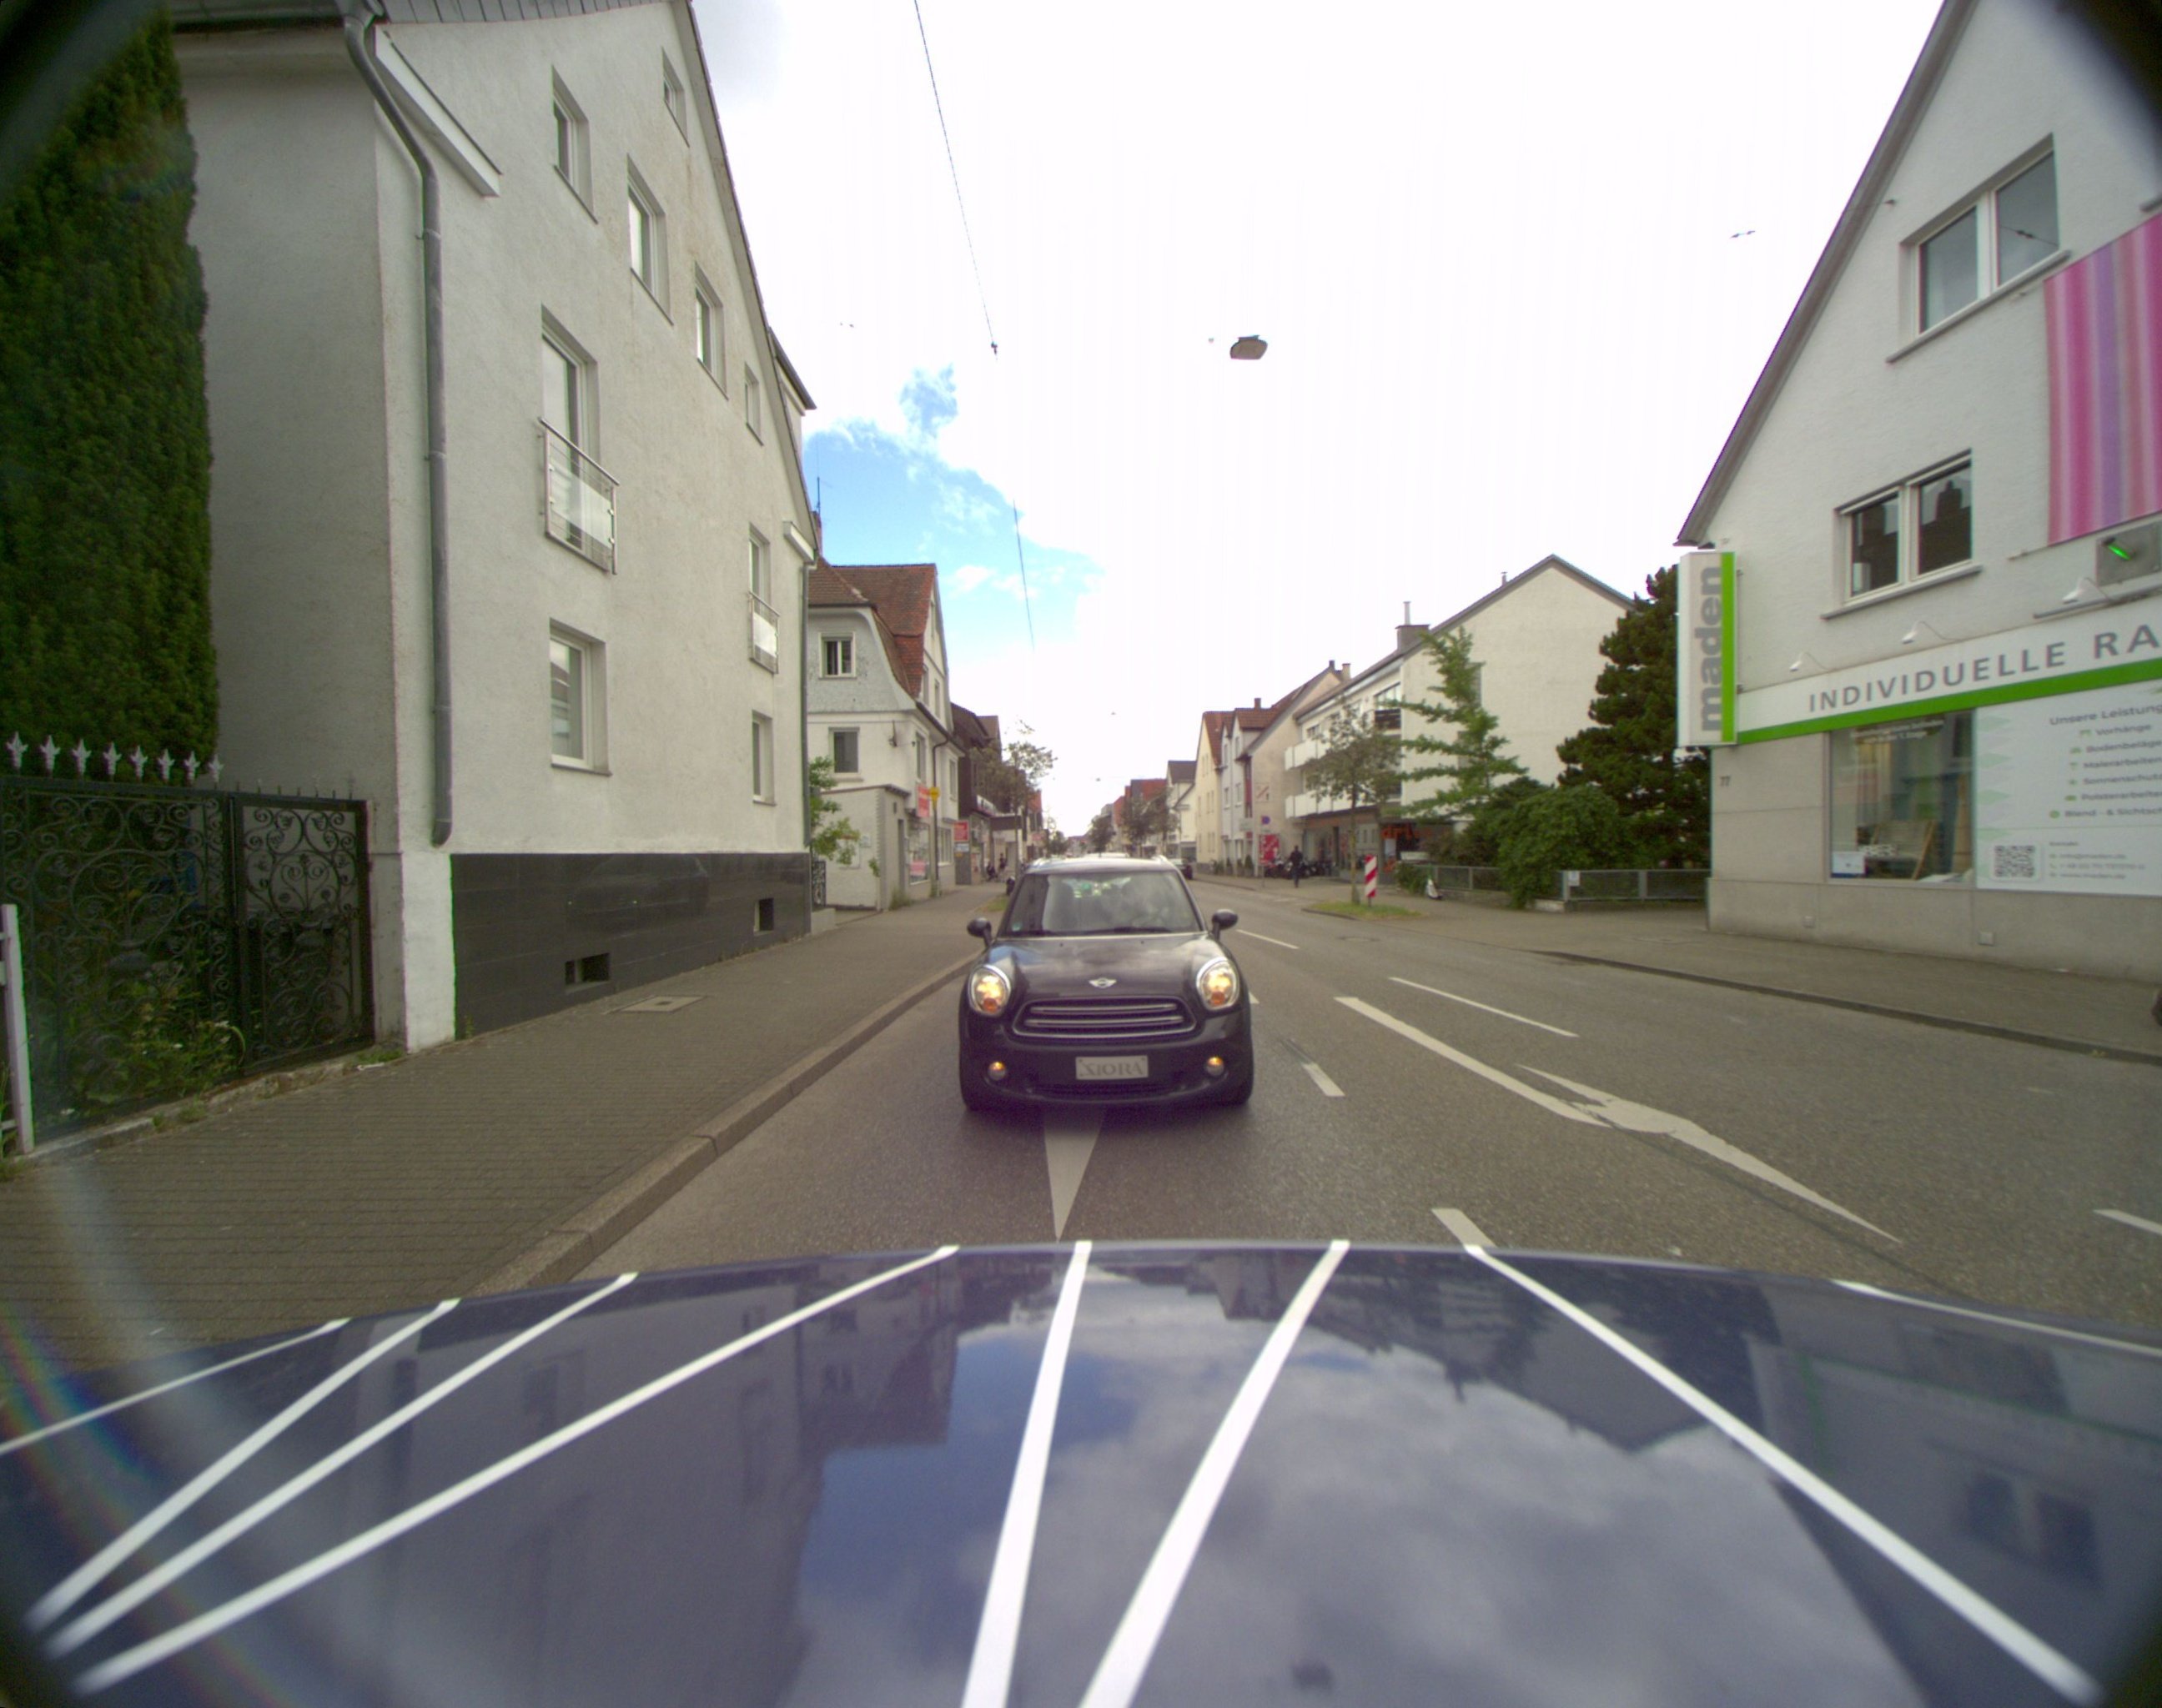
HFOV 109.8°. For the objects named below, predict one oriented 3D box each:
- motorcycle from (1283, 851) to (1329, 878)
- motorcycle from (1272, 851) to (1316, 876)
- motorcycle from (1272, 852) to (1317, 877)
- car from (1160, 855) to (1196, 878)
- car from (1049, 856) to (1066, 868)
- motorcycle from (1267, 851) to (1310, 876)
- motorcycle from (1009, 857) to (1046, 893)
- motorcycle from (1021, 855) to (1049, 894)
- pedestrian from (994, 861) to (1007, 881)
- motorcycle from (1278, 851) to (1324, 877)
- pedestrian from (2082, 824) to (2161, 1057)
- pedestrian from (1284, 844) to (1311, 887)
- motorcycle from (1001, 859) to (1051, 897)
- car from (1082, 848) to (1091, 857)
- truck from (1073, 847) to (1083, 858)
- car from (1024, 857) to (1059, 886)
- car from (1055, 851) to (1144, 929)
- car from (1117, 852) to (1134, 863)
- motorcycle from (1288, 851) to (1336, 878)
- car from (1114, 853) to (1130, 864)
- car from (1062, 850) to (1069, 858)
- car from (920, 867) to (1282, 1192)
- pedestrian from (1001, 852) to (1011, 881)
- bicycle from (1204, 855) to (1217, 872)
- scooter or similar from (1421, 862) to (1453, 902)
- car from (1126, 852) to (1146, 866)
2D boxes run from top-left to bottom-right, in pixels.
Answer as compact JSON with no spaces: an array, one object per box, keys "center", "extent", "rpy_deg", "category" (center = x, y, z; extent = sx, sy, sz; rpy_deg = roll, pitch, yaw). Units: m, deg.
[{"center":[11.925,0.564,40.304],"extent":[2.231,1.258,0.613],"rpy_deg":[-4,1,-2],"category":"motorcycle"},{"center":[11.984,0.548,42.819],"extent":[2.231,1.258,0.613],"rpy_deg":[-4,1,-2],"category":"motorcycle"},{"center":[11.802,0.568,42.011],"extent":[2.231,1.258,0.699],"rpy_deg":[-4,1,-2],"category":"motorcycle"},{"center":[6.419,0.823,50.587],"extent":[1.792,1.409,4.340],"rpy_deg":[0,0,-1],"category":"car"},{"center":[-2.618,0.882,85.229],"extent":[1.794,1.356,3.948],"rpy_deg":[1,0,0],"category":"car"},{"center":[11.891,0.540,43.555],"extent":[2.231,1.258,0.613],"rpy_deg":[-4,1,-2],"category":"motorcycle"},{"center":[-2.257,0.863,32.638],"extent":[0.648,1.432,2.472],"rpy_deg":[-2,1,19],"category":"motorcycle"},{"center":[-1.891,0.807,31.498],"extent":[0.672,1.516,2.599],"rpy_deg":[-2,1,6],"category":"motorcycle"},{"center":[-4.952,1.027,46.537],"extent":[0.742,1.204,0.644],"rpy_deg":[0,1,-1],"category":"pedestrian"},{"center":[11.914,0.560,41.170],"extent":[2.231,1.258,0.613],"rpy_deg":[-4,1,-2],"category":"motorcycle"},{"center":[8.469,0.642,5.612],"extent":[0.753,1.733,1.019],"rpy_deg":[-3,1,0],"category":"pedestrian"},{"center":[9.512,0.492,33.359],"extent":[0.753,1.838,1.019],"rpy_deg":[-5,1,0],"category":"pedestrian"},{"center":[-2.127,0.904,29.019],"extent":[0.777,1.373,2.237],"rpy_deg":[-2,1,-37],"category":"motorcycle"},{"center":[1.194,-0.238,166.492],"extent":[1.855,1.932,4.490],"rpy_deg":[0,0,-2],"category":"car"},{"center":[-0.887,-0.532,218.991],"extent":[2.800,3.020,8.250],"rpy_deg":[-2,0,0],"category":"truck"},{"center":[-2.168,0.937,42.714],"extent":[1.830,1.400,4.564],"rpy_deg":[-2,0,-1],"category":"car"},{"center":[0.416,0.761,18.776],"extent":[1.855,1.615,4.736],"rpy_deg":[-2,0,0],"category":"car"},{"center":[5.623,0.425,96.754],"extent":[1.716,1.389,3.899],"rpy_deg":[-2,0,-2],"category":"car"},{"center":[11.958,0.541,39.423],"extent":[2.231,1.258,0.613],"rpy_deg":[-4,1,-2],"category":"motorcycle"},{"center":[5.471,0.547,101.857],"extent":[1.716,1.389,3.899],"rpy_deg":[-2,0,-2],"category":"car"},{"center":[-4.405,0.012,213.954],"extent":[2.059,2.002,4.186],"rpy_deg":[-2,0,-1],"category":"car"},{"center":[0.032,0.955,6.343],"extent":[1.855,1.527,4.735],"rpy_deg":[-2,0,-2],"category":"car"},{"center":[-4.472,0.727,45.298],"extent":[0.644,1.730,0.742],"rpy_deg":[0,1,-6],"category":"pedestrian"},{"center":[9.412,0.705,55.184],"extent":[0.515,1.189,2.023],"rpy_deg":[-2,0,-1],"category":"bicycle"},{"center":[10.361,0.793,22.144],"extent":[0.340,1.105,1.180],"rpy_deg":[-2,1,0],"category":"scooter or similar"},{"center":[6.206,0.553,86.171],"extent":[1.716,1.389,3.899],"rpy_deg":[-2,0,-2],"category":"car"}]
